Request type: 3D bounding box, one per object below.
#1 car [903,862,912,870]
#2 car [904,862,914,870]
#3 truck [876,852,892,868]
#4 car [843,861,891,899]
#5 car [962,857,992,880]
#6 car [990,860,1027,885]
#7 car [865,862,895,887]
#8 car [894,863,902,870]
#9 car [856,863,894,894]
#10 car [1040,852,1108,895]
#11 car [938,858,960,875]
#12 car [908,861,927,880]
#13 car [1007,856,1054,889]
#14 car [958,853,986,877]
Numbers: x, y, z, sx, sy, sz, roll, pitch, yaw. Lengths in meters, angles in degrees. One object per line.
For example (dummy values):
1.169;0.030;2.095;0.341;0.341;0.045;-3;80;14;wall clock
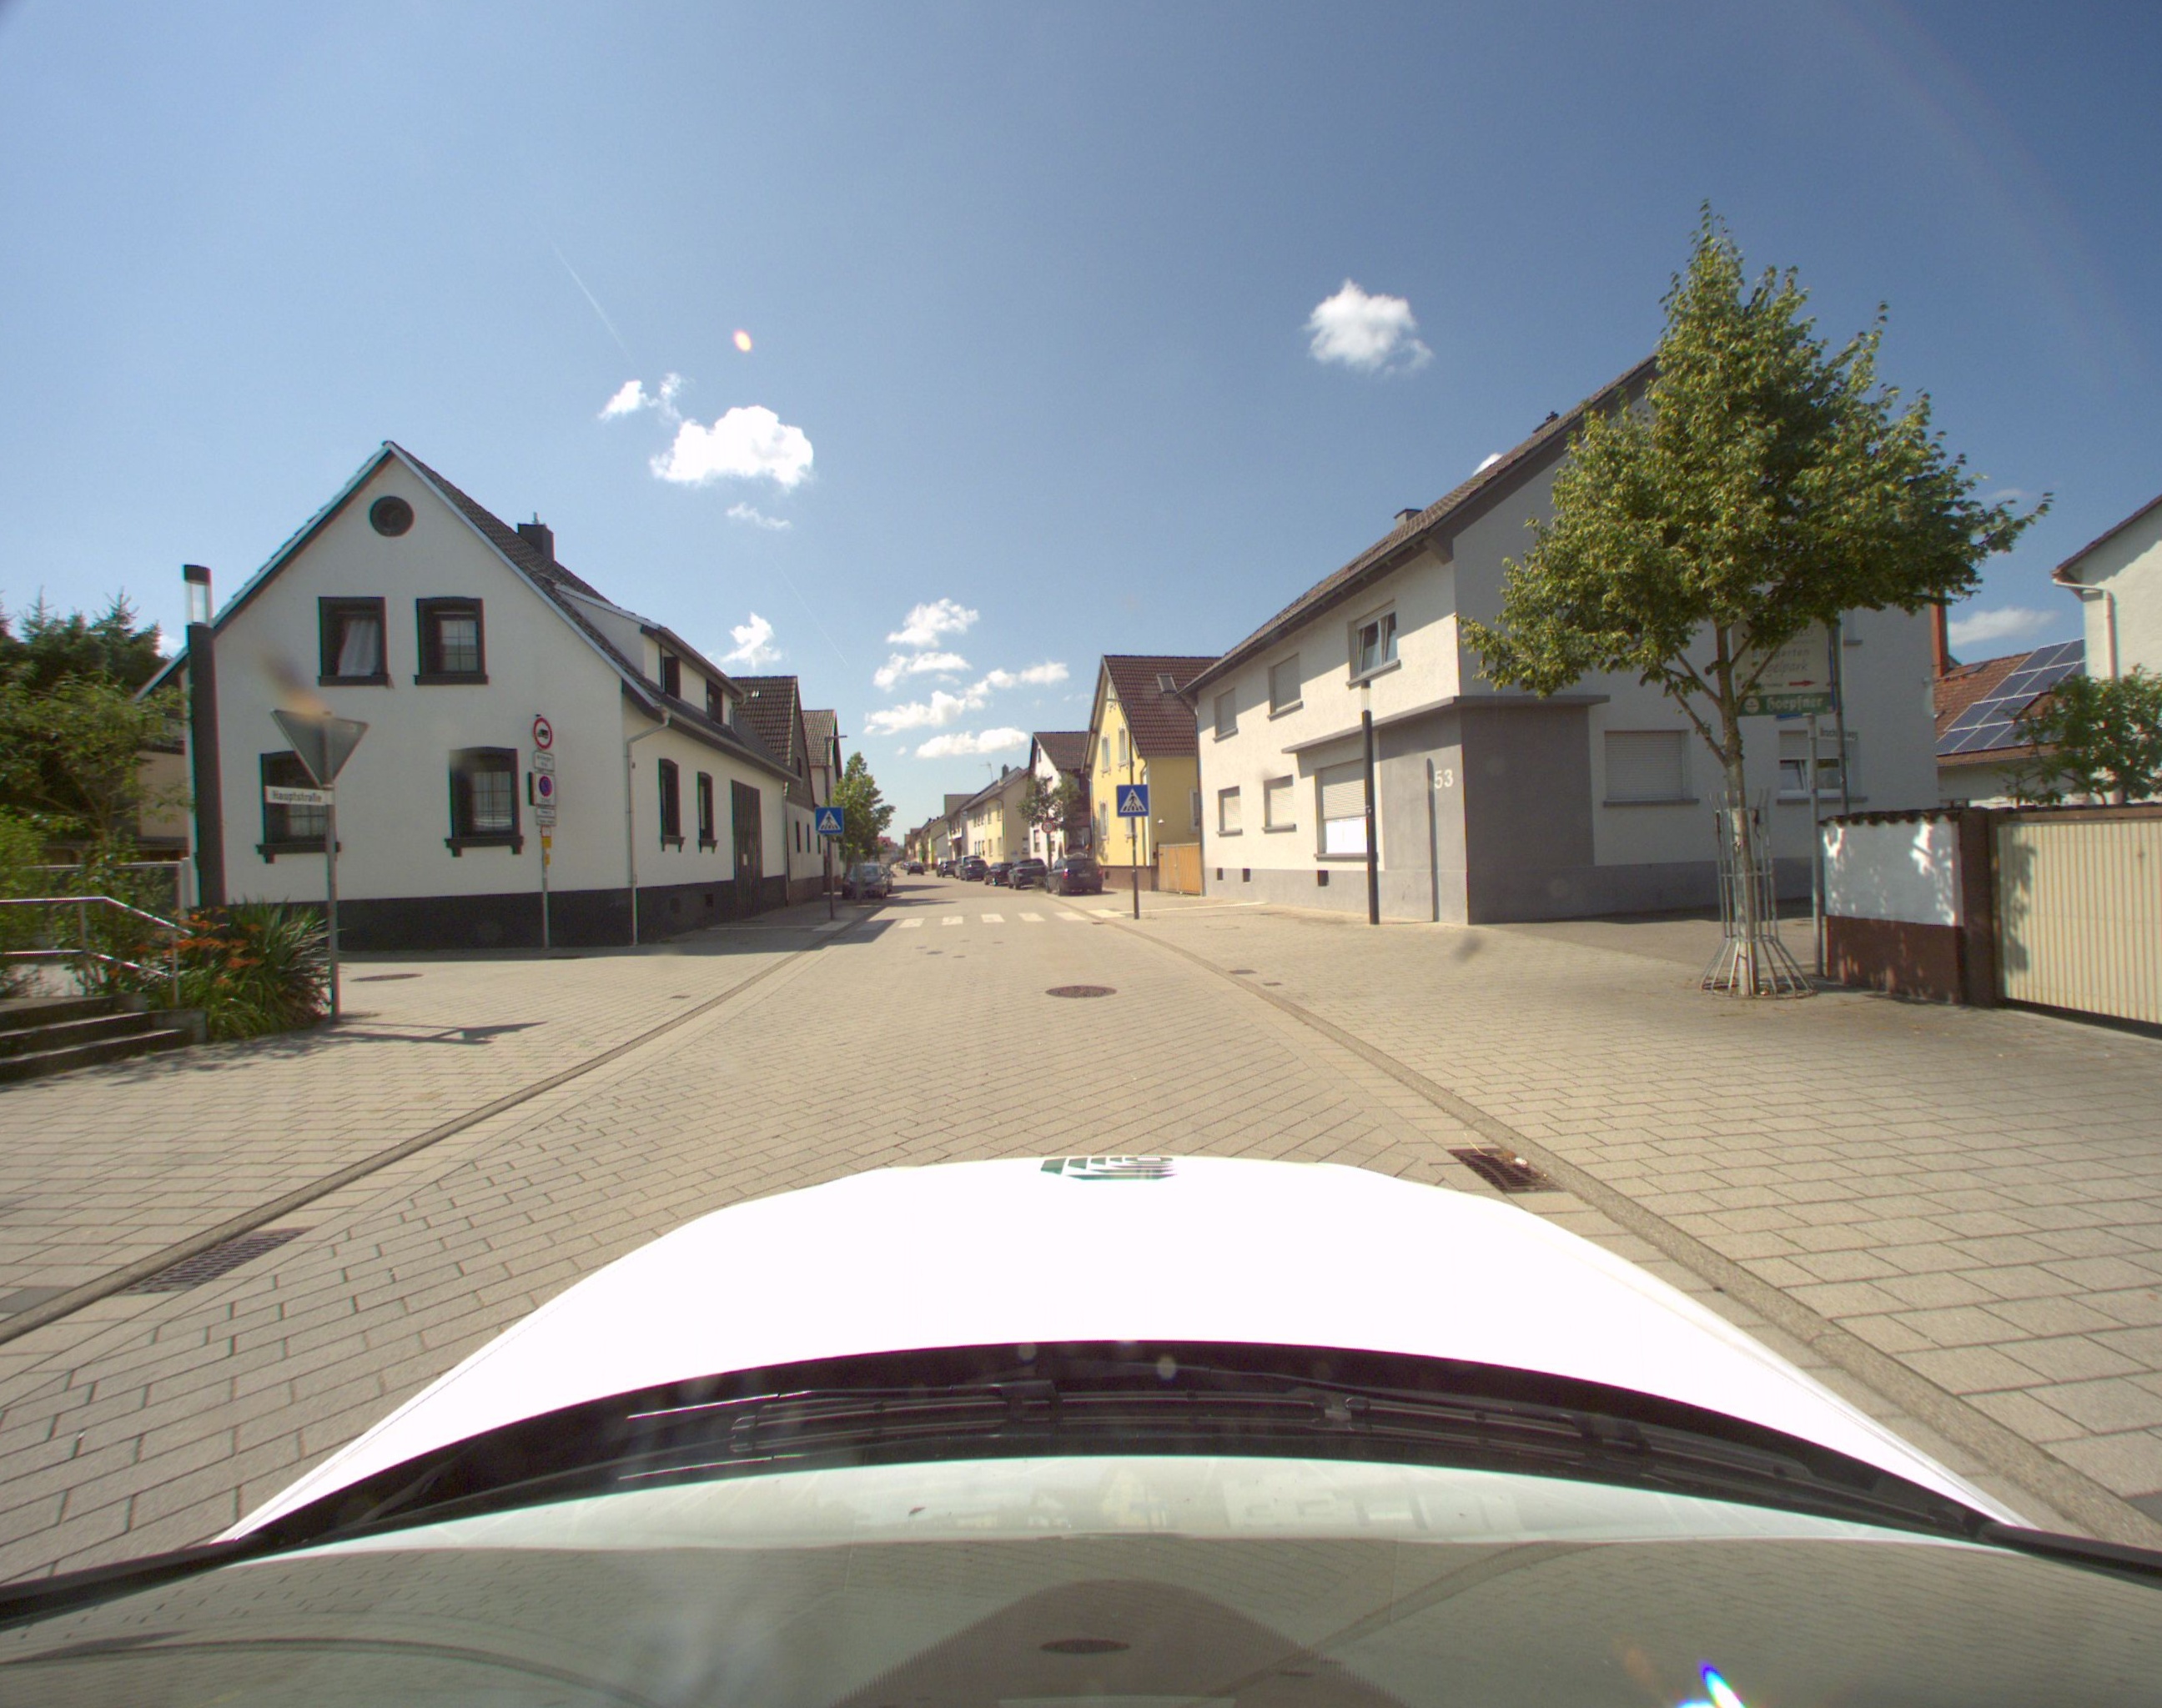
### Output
-34.799;2.350;163.580;1.690;1.452;3.775;-2;0;-13;car
-32.609;2.193;154.269;1.689;1.452;3.776;-2;0;-13;car
-49.937;1.537;206.184;3.572;3.953;8.536;-2;0;-15;truck
-9.644;1.131;36.906;1.747;1.530;3.986;-1;0;-10;car
-8.098;1.104;62.942;1.879;1.591;3.983;-2;0;-13;car
-4.442;1.101;49.493;1.712;1.387;3.689;-2;0;-13;car
-13.157;1.322;53.439;1.795;1.475;3.853;-2;0;-13;car
-41.966;2.823;186.472;1.691;1.452;3.773;-2;0;-15;car
-10.889;1.260;43.213;1.752;1.532;4.242;-1;0;-12;car
-0.371;0.766;32.944;1.831;1.471;4.257;-4;0;-13;car
-12.500;1.175;76.969;1.756;1.493;3.983;-2;0;-13;car
-18.623;1.829;92.659;1.996;2.057;4.354;-2;0;-13;car
-2.675;0.933;42.171;1.848;1.562;3.677;-2;0;-13;car
-9.171;0.924;68.492;1.909;1.871;3.983;-2;0;-13;car
